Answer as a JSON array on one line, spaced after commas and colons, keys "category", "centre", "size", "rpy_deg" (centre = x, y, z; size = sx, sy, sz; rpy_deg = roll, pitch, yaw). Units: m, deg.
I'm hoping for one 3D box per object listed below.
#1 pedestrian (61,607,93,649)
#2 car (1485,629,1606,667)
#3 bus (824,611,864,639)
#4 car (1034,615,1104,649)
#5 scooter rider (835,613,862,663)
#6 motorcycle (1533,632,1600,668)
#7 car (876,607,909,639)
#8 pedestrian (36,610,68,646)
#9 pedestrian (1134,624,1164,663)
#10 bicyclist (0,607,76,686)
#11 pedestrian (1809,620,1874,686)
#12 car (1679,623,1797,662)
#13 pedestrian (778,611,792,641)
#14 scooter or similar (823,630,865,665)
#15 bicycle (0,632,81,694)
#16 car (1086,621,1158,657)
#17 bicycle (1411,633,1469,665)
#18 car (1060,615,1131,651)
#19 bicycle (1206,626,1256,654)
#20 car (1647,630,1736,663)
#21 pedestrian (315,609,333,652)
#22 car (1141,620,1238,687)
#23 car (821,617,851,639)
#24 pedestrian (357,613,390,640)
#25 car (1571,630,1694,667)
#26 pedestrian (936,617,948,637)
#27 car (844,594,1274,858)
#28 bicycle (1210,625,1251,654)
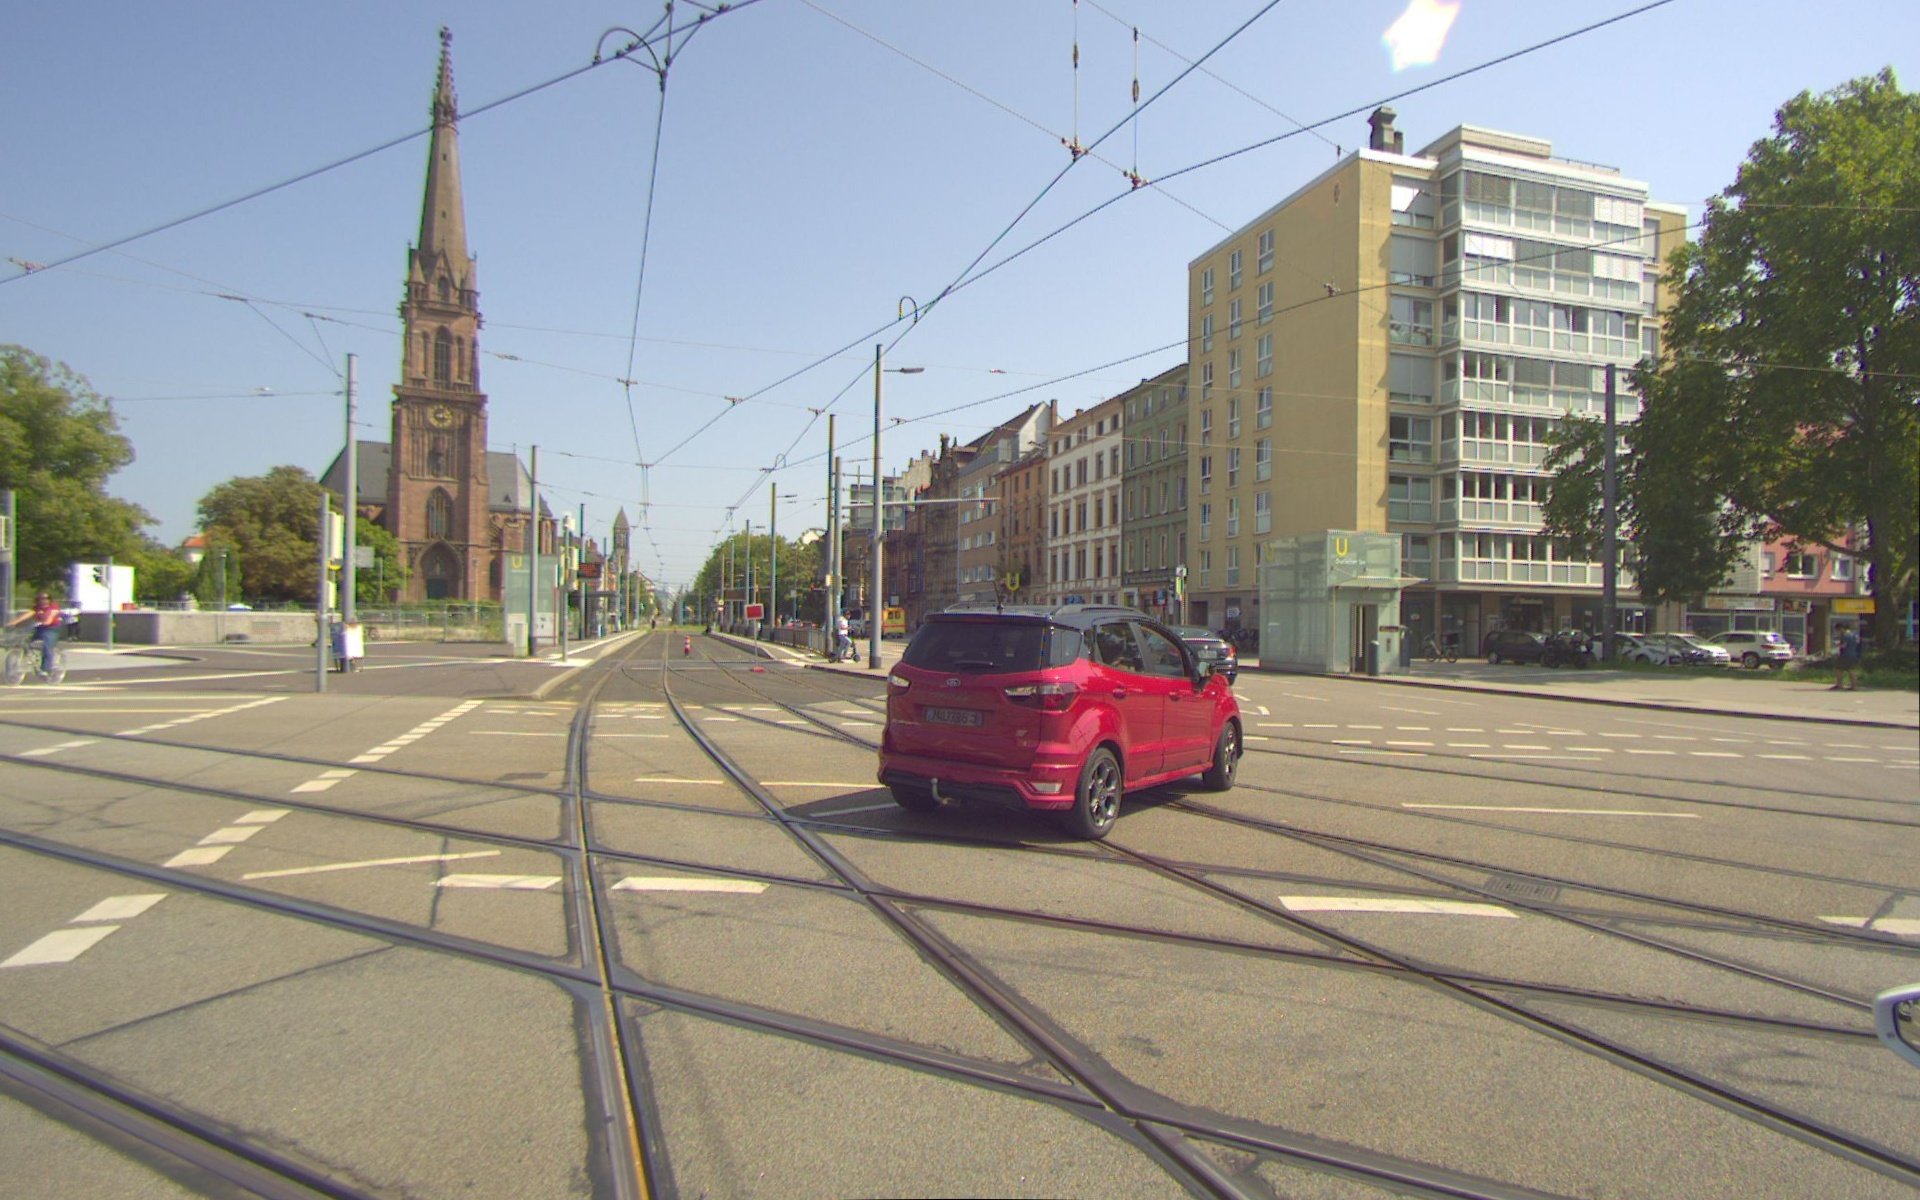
[{"category": "pedestrian", "centre": [-37.616, 1.187, 42.793], "size": [0.665, 1.751, 0.784], "rpy_deg": [0, -1, 23]}, {"category": "car", "centre": [24.535, 1.972, 42.243], "size": [1.876, 1.490, 4.229], "rpy_deg": [1, -1, -19]}, {"category": "bus", "centre": [-13.677, 2.939, 117.545], "size": [2.501, 3.071, 12.394], "rpy_deg": [1, -2, -16]}, {"category": "car", "centre": [6.016, 1.718, 54.964], "size": [2.008, 1.736, 4.655], "rpy_deg": [0, -1, 32]}, {"category": "scooter rider", "centre": [-3.808, 1.281, 34.388], "size": [0.762, 1.695, 0.776], "rpy_deg": [1, -1, -19]}, {"category": "motorcycle", "centre": [20.646, 1.678, 34.236], "size": [0.895, 1.152, 2.111], "rpy_deg": [1, -2, -4]}, {"category": "car", "centre": [-6.372, 2.127, 93.779], "size": [2.266, 2.927, 5.586], "rpy_deg": [0, -1, -13]}, {"category": "pedestrian", "centre": [-40.157, 1.227, 44.406], "size": [0.665, 1.568, 0.784], "rpy_deg": [0, -2, 23]}, {"category": "pedestrian", "centre": [8.779, 2.029, 46.720], "size": [1.031, 1.726, 0.893], "rpy_deg": [4, -2, -43]}, {"category": "bicyclist", "centre": [-17.658, 0.871, 19.117], "size": [0.862, 1.479, 0.978], "rpy_deg": [1, -1, -13]}, {"category": "pedestrian", "centre": [22.108, 1.317, 25.203], "size": [0.781, 1.630, 0.946], "rpy_deg": [1, -2, -20]}, {"category": "car", "centre": [35.986, 1.932, 46.582], "size": [1.763, 1.688, 4.057], "rpy_deg": [1, -1, -19]}, {"category": "pedestrian", "centre": [-10.762, 1.607, 61.800], "size": [0.751, 1.774, 1.065], "rpy_deg": [1, -2, -16]}, {"category": "scooter or similar", "centre": [-3.963, 1.612, 34.272], "size": [1.321, 1.164, 0.706], "rpy_deg": [1, -1, -19]}, {"category": "bicycle", "centre": [-17.633, 1.172, 19.050], "size": [0.604, 1.083, 1.908], "rpy_deg": [1, -1, -13]}, {"category": "car", "centre": [7.768, 1.867, 47.878], "size": [1.779, 1.520, 3.771], "rpy_deg": [2, -2, 38]}, {"category": "bicycle", "centre": [20.234, 2.053, 42.416], "size": [0.782, 1.255, 2.426], "rpy_deg": [1, -2, -16]}, {"category": "car", "centre": [6.945, 1.666, 51.157], "size": [1.952, 1.710, 4.382], "rpy_deg": [0, -1, 32]}, {"category": "bicycle", "centre": [14.661, 2.140, 54.377], "size": [0.890, 1.423, 3.350], "rpy_deg": [1, -1, -19]}, {"category": "car", "centre": [33.529, 2.124, 46.123], "size": [1.382, 1.447, 3.085], "rpy_deg": [1, -1, -19]}, {"category": "pedestrian", "centre": [-25.384, 1.222, 40.095], "size": [0.568, 1.681, 0.793], "rpy_deg": [1, 1, -35]}, {"category": "car", "centre": [5.572, 1.256, 24.823], "size": [1.760, 1.450, 4.002], "rpy_deg": [1, 0, 5]}, {"category": "car", "centre": [-10.410, 2.370, 84.123], "size": [1.767, 1.803, 3.985], "rpy_deg": [2, -3, -18]}, {"category": "pedestrian", "centre": [-32.474, 1.468, 55.616], "size": [1.665, 1.505, 0.614], "rpy_deg": [0, -1, 19]}, {"category": "car", "centre": [29.265, 2.073, 43.866], "size": [1.876, 1.490, 4.229], "rpy_deg": [1, -1, -19]}, {"category": "pedestrian", "centre": [-1.598, 2.392, 88.902], "size": [0.837, 1.752, 0.969], "rpy_deg": [0, 1, -10]}, {"category": "car", "centre": [1.072, 0.860, 8.414], "size": [1.740, 1.639, 4.067], "rpy_deg": [0, -2, 37]}, {"category": "bicycle", "centre": [14.211, 2.057, 52.614], "size": [0.890, 1.423, 3.351], "rpy_deg": [0, -2, 37]}]
